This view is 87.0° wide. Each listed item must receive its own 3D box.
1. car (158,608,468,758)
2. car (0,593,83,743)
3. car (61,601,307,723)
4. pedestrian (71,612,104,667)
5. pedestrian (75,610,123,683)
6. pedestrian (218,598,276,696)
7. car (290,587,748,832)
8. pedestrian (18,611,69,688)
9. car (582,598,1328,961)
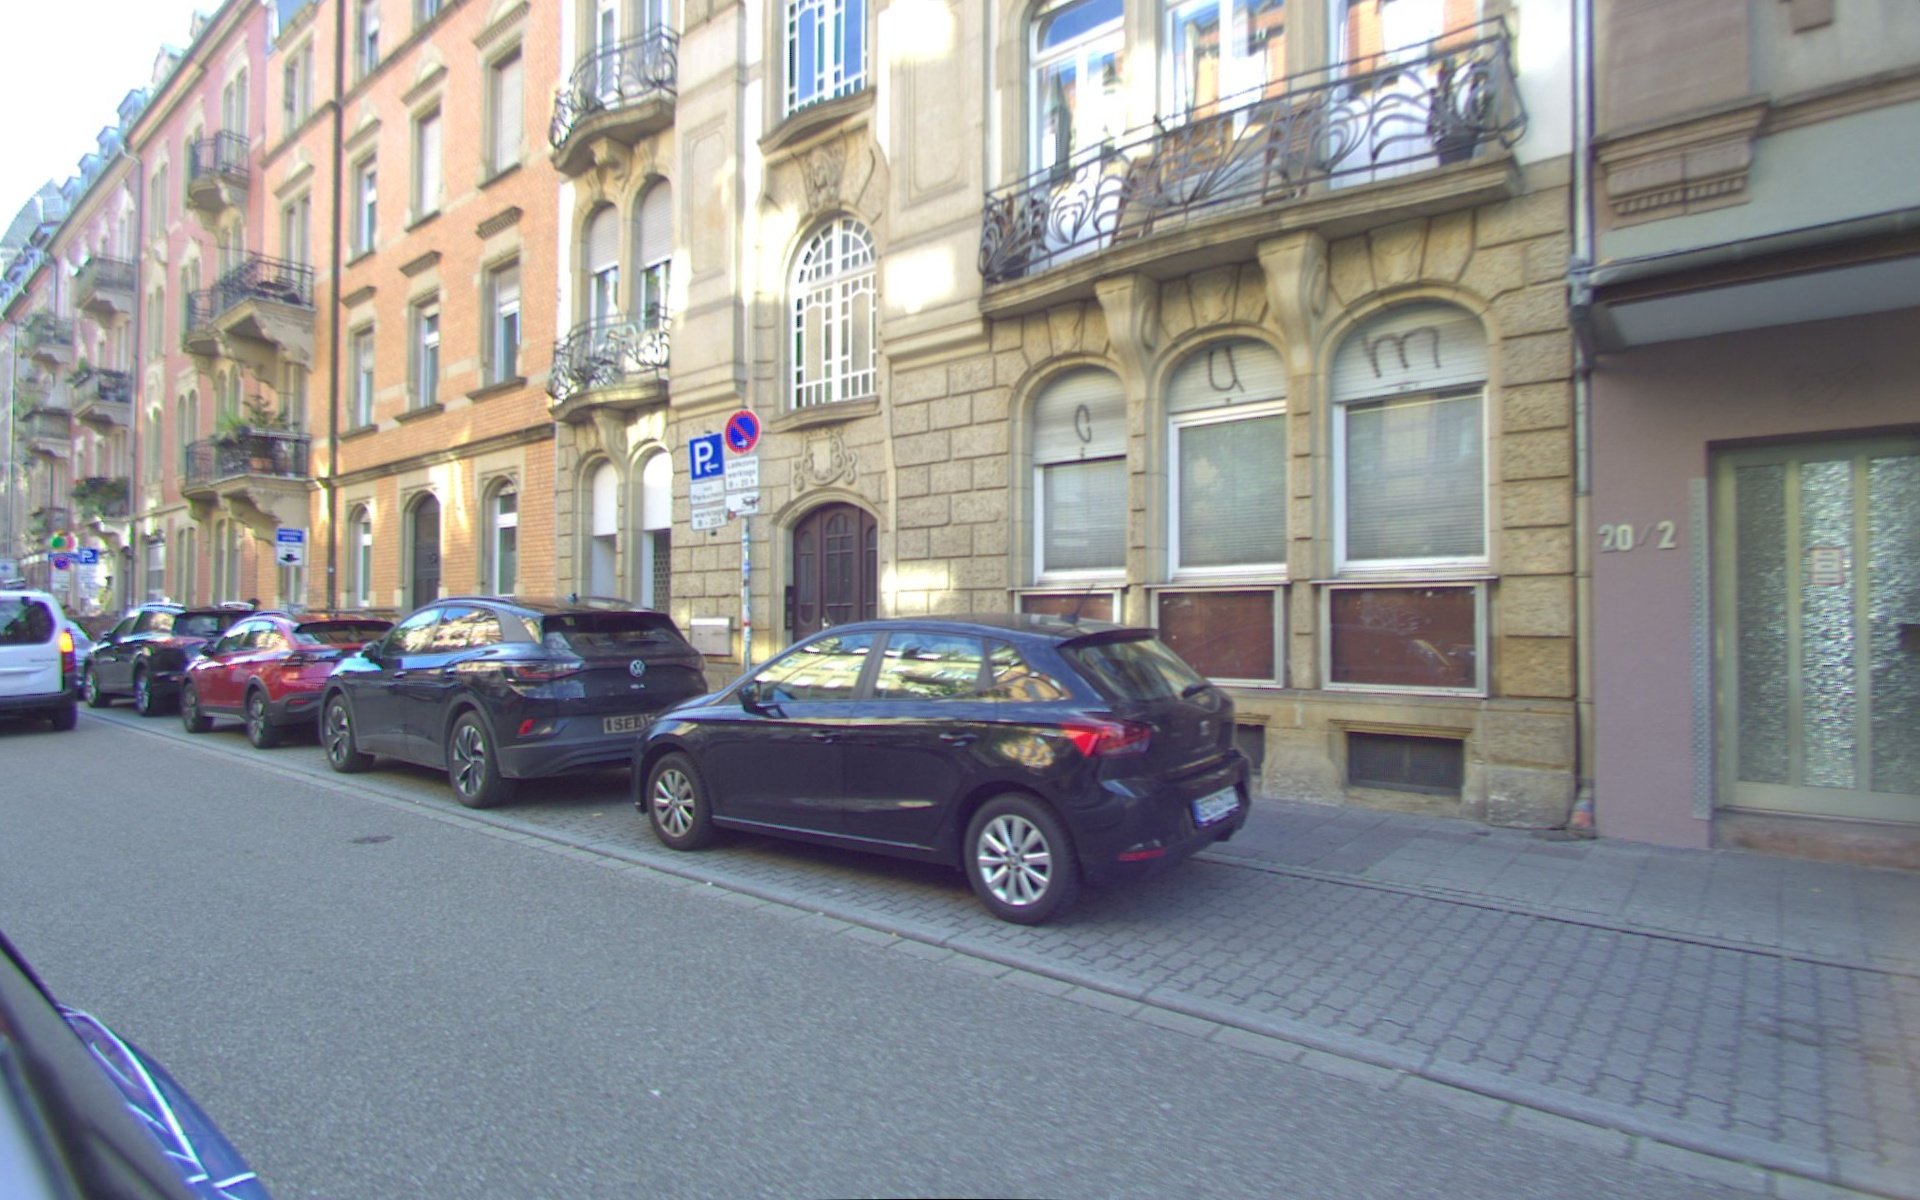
[{"bbox_3d":[-8.214,0.915,12.703,4.422,1.556,1.974,-1,-2,39],"label":"car"},{"bbox_3d":[-13.522,0.867,13.756,4.437,1.842,1.897,-1,-1,42],"label":"car"},{"bbox_3d":[-12.629,0.937,16.360,4.884,1.693,1.856,-2,-1,36],"label":"car"},{"bbox_3d":[-27.401,1.230,31.771,0.763,1.709,0.657,-1,-1,39],"label":"pedestrian"},{"bbox_3d":[-20.151,1.069,23.693,0.545,1.674,0.679,-1,-1,9],"label":"pedestrian"},{"bbox_3d":[-13.694,0.882,19.433,0.863,1.822,0.748,-2,-1,43],"label":"pedestrian"},{"bbox_3d":[-4.139,0.785,9.052,4.843,1.641,1.772,-1,-2,40],"label":"car"},{"bbox_3d":[-20.725,1.113,22.892,0.659,1.722,0.565,-1,-1,5],"label":"pedestrian"},{"bbox_3d":[-0.238,0.773,6.129,4.240,1.431,1.974,-1,-2,39],"label":"car"}]
